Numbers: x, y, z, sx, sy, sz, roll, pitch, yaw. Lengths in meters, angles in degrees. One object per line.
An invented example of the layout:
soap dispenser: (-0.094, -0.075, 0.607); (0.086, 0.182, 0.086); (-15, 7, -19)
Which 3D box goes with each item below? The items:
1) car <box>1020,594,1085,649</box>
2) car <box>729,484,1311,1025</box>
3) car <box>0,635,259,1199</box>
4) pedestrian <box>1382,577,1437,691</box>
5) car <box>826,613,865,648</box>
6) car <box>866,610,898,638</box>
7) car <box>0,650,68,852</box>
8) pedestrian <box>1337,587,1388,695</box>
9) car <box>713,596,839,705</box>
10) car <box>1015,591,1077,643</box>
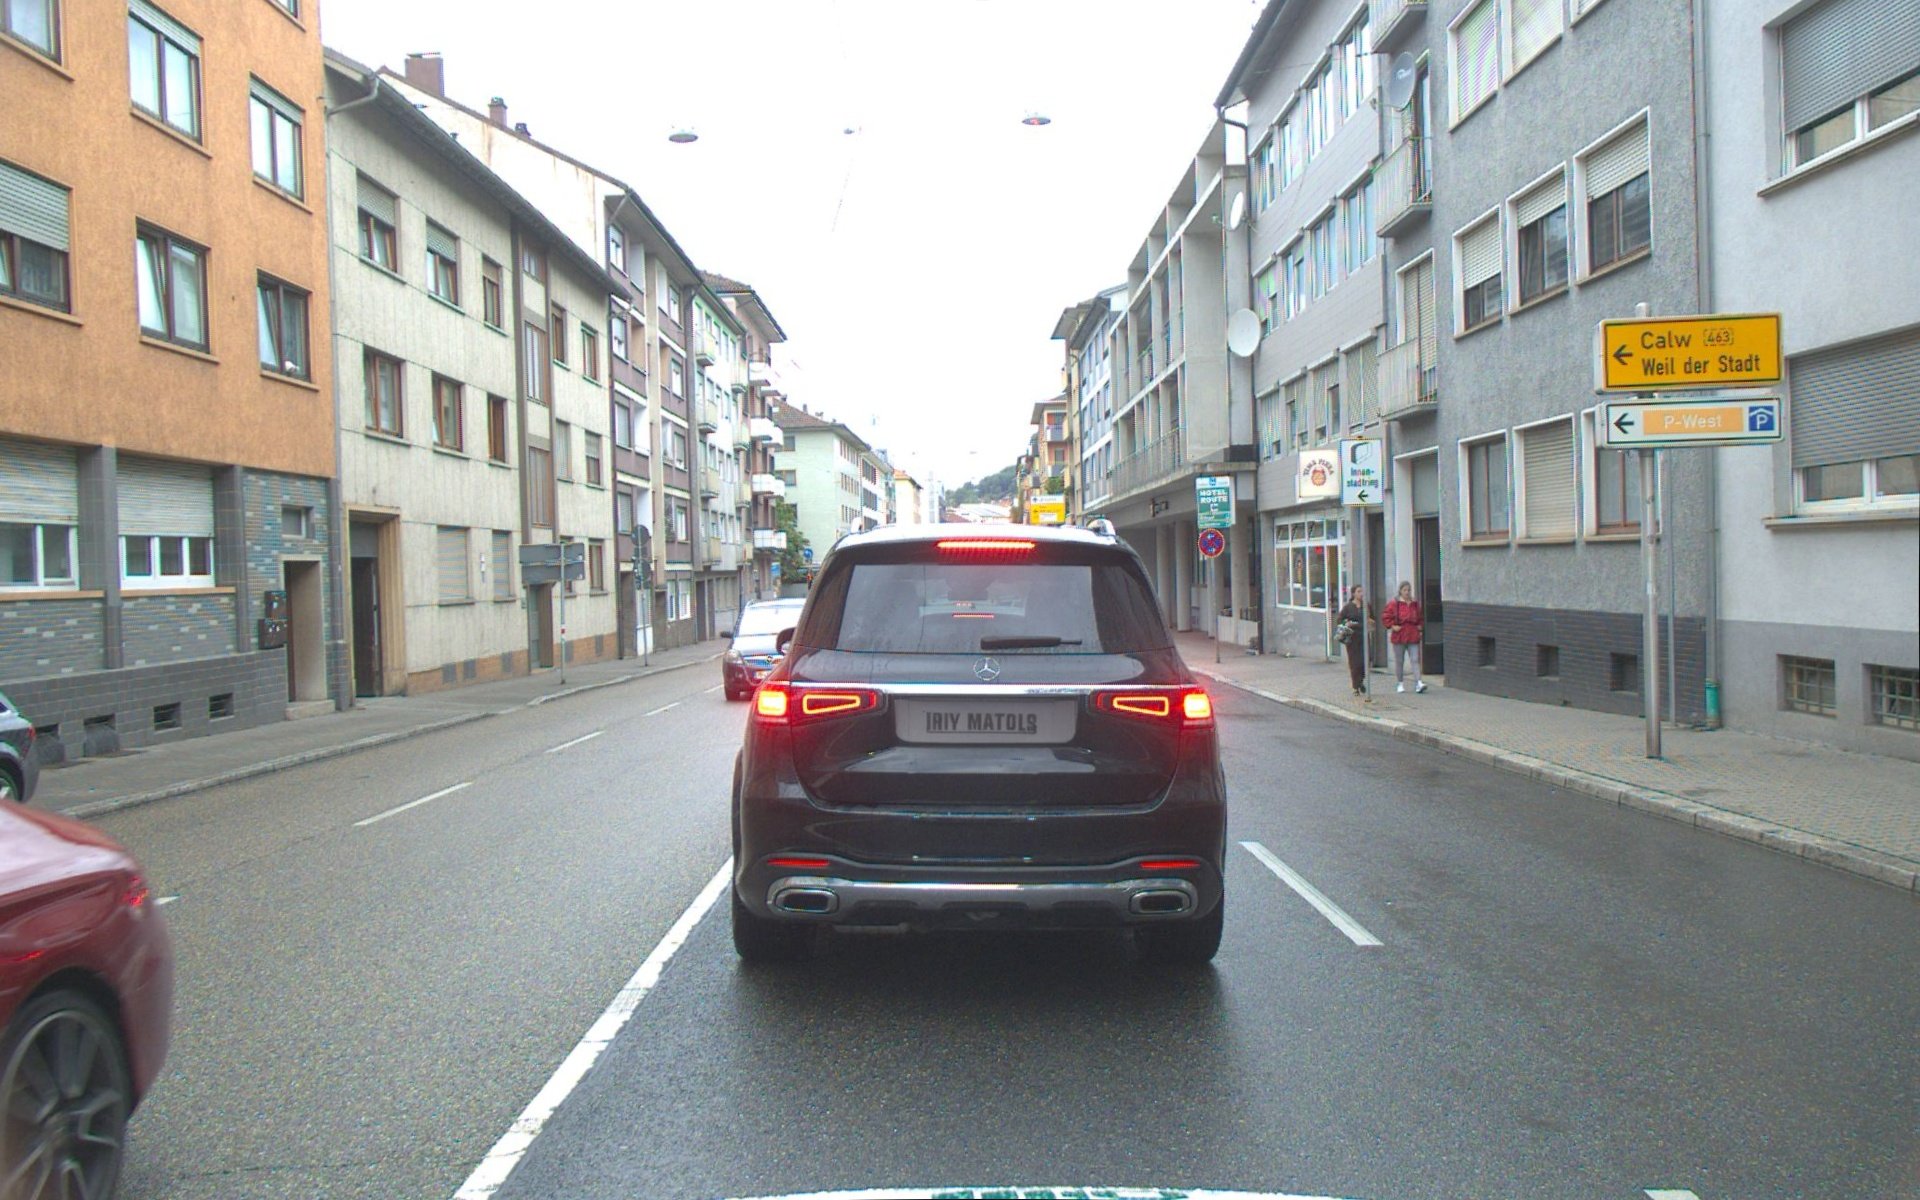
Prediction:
car: (2.809, 0.639, 51.049); (1.731, 1.608, 3.999); (0, 0, -1)
car: (0.168, 0.533, 7.712); (1.984, 1.837, 3.999); (1, 0, -1)
car: (-2.810, 0.850, 2.447); (1.690, 1.414, 4.338); (-3, 0, -1)
pedestrian: (6.547, 0.488, 24.118); (0.549, 1.606, 0.526); (-4, 0, -2)
car: (-5.614, 1.482, 81.679); (1.615, 1.603, 4.124); (-3, 0, -1)
car: (-4.363, 1.346, 93.247); (1.615, 1.464, 4.124); (-3, 0, -1)
car: (-7.965, 1.127, 10.916); (1.759, 1.463, 4.525); (1, 0, -1)
pedestrian: (5.858, 0.589, 24.097); (0.496, 1.526, 0.562); (-4, 0, -2)
car: (-3.081, 0.794, 28.390); (1.698, 1.602, 4.010); (-5, 0, -1)
car: (3.063, 0.582, 60.004); (1.901, 1.806, 4.745); (0, 0, -1)
